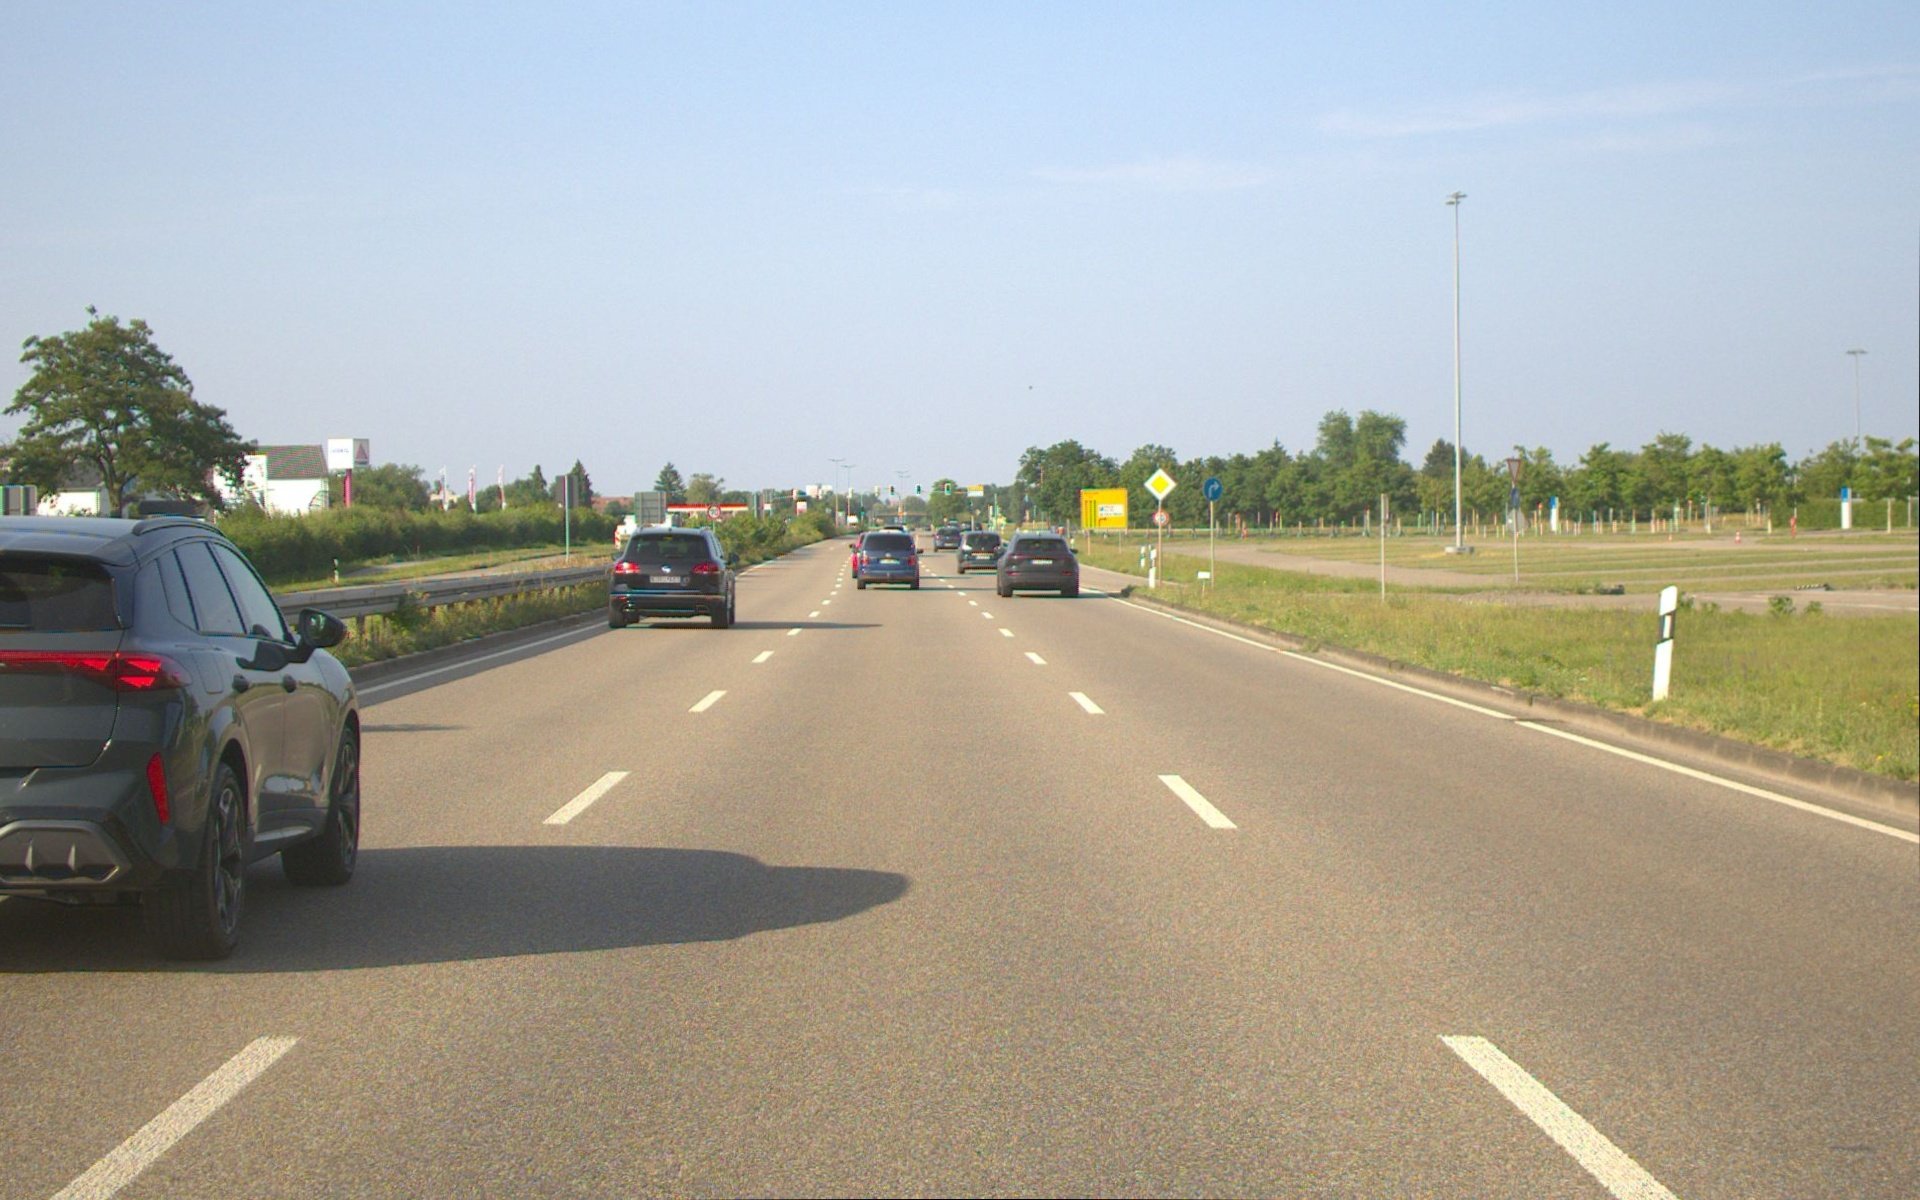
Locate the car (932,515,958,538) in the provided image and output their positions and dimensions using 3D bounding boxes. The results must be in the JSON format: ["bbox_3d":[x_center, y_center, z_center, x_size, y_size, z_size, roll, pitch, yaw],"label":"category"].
[{"bbox_3d":[-0.885,-4.397,205.643,1.503,1.309,3.156,2,1,-1],"label":"car"}]

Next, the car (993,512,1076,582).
[{"bbox_3d":[1.882,-1.376,88.100,1.932,1.674,4.401,2,1,-1],"label":"car"}]

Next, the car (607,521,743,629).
[{"bbox_3d":[-4.757,-0.449,57.850,1.932,1.674,4.401,2,1,-1],"label":"car"}]

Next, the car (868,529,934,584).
[{"bbox_3d":[-1.695,-1.277,98.987,1.812,1.458,4.401,2,1,-1],"label":"car"}]

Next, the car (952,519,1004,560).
[{"bbox_3d":[0.685,-2.333,131.683,1.873,1.458,3.981,2,1,-1],"label":"car"}]

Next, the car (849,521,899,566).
[{"bbox_3d":[-2.971,-1.985,119.502,1.647,1.458,3.981,2,1,-1],"label":"car"}]

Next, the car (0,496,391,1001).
[{"bbox_3d":[-3.493,0.415,13.357,1.845,1.606,4.401,2,1,-1],"label":"car"}]

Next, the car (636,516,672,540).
[{"bbox_3d":[-18.408,-4.337,206.992,1.779,1.419,4.000,0,1,0],"label":"car"}]
